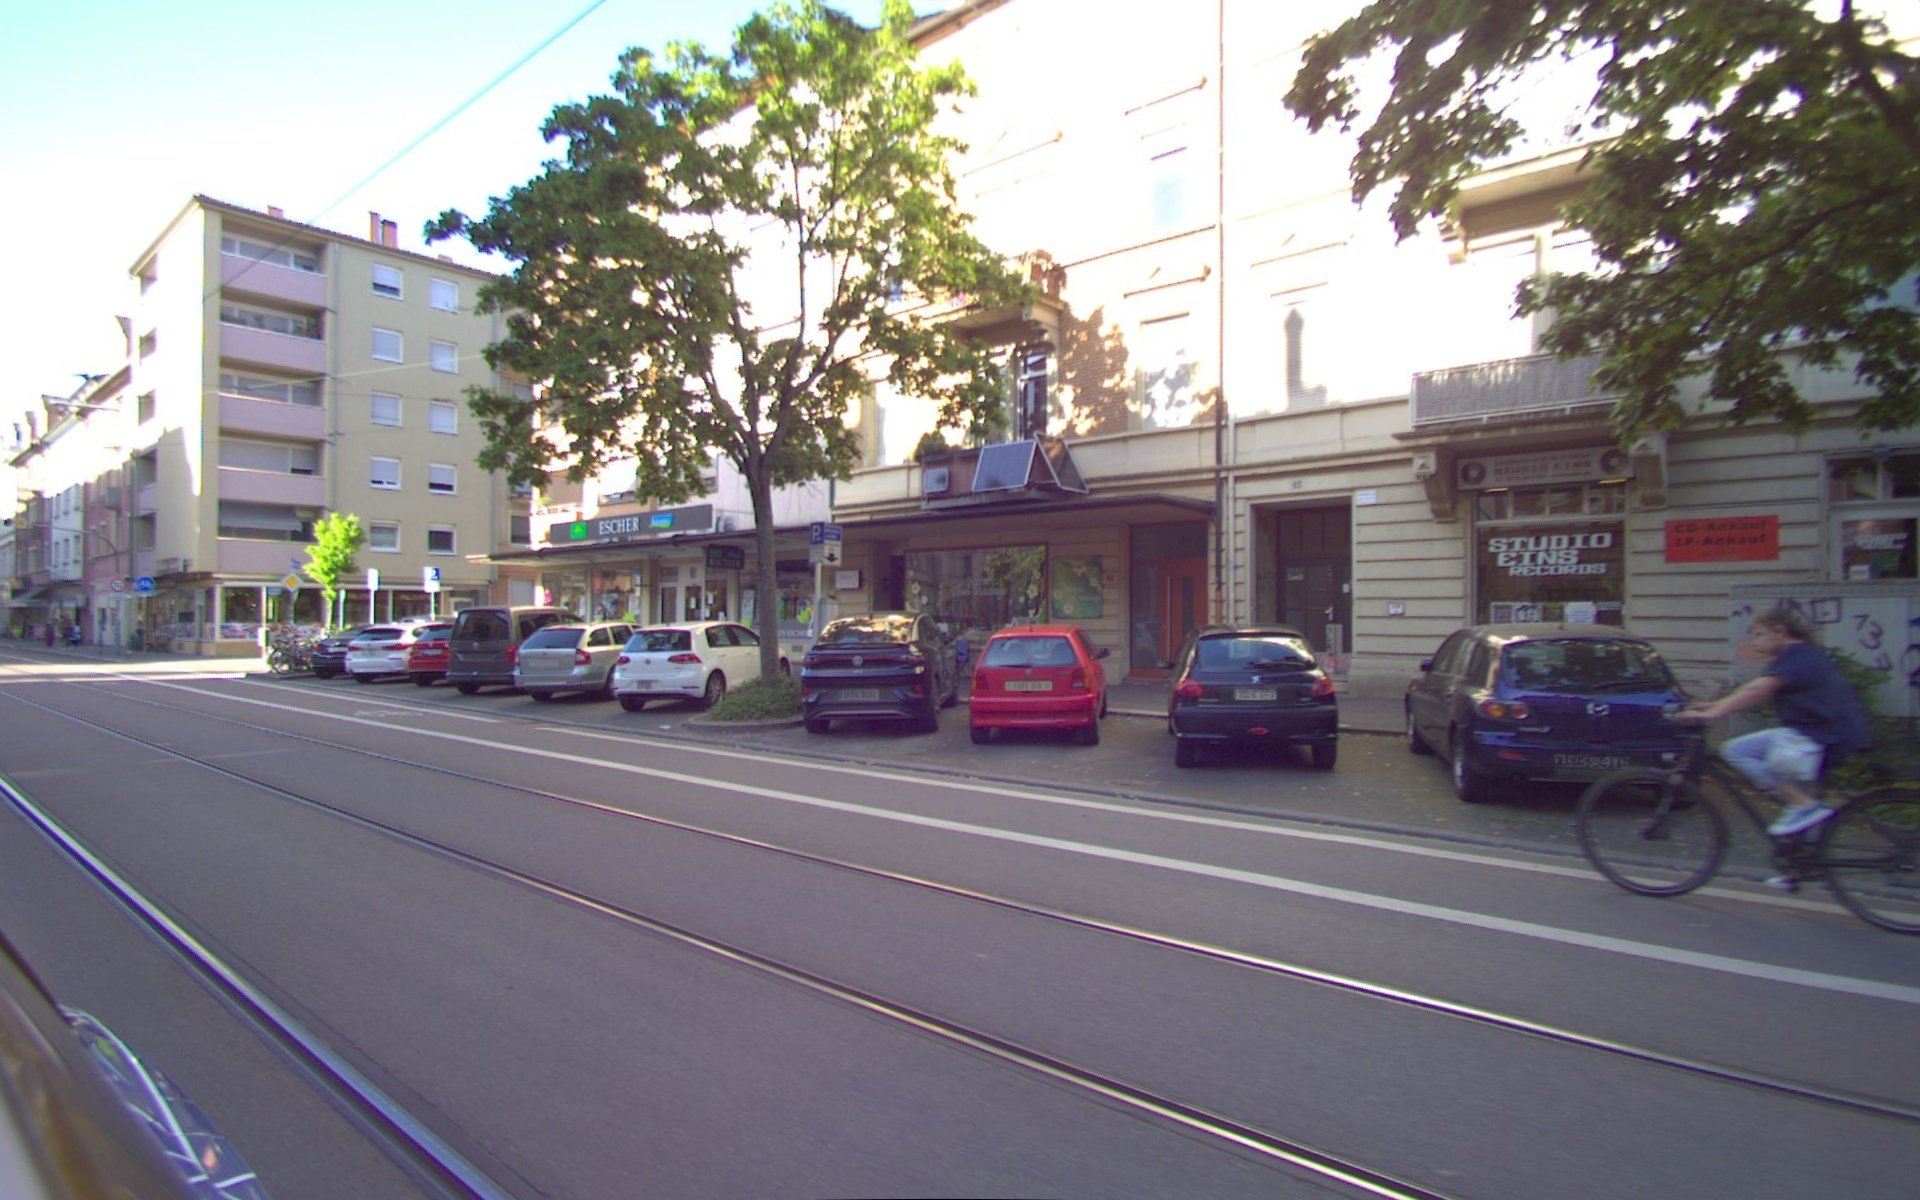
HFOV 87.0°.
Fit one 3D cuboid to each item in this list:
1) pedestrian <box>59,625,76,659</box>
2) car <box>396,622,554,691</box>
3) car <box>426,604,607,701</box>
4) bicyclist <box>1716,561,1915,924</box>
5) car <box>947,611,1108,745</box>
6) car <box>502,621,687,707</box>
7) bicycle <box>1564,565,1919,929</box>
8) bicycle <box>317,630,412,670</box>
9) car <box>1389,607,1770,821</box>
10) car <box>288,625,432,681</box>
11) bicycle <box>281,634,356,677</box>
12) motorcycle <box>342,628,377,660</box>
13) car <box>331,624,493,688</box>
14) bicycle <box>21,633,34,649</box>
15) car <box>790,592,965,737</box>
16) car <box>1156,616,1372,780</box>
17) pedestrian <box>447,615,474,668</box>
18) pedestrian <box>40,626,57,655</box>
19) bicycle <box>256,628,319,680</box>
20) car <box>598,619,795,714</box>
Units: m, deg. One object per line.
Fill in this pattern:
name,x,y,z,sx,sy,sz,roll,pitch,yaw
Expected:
pedestrian,-45.212,2.138,51.242,0.616,1.698,0.557,-1,-1,40
car,-11.392,1.286,24.022,1.631,1.484,3.457,-1,-1,12
car,-9.431,1.044,21.887,1.777,1.798,3.811,-1,1,10
bicyclist,4.382,0.670,5.211,0.726,1.694,0.627,-1,-1,41
car,1.049,0.923,13.659,1.846,1.500,3.990,-1,0,8
car,-7.090,1.180,20.079,1.681,1.460,4.005,-1,0,11
bicycle,4.391,0.688,5.216,2.096,1.691,0.673,-1,-1,41
bicycle,-18.070,1.507,30.769,2.396,1.118,0.685,-2,-2,-9
car,5.308,0.831,9.341,1.788,1.500,3.983,-1,0,13
car,-16.136,1.396,27.421,1.605,1.347,3.464,-1,0,7
bicycle,-18.502,1.597,29.202,1.867,1.132,0.681,-3,-2,10
motorcycle,-24.539,1.777,41.338,2.176,1.219,0.613,-1,-1,41
car,-13.740,1.357,25.627,1.734,1.410,3.782,-1,0,8
bicycle,-66.161,2.882,71.810,2.328,1.068,0.420,-1,-1,41
car,-1.024,0.819,14.786,1.970,1.796,4.362,0,0,3
car,3.278,0.960,11.662,1.785,1.500,3.990,-1,0,8
pedestrian,-16.058,1.322,32.537,0.641,1.665,0.563,-1,-1,41
pedestrian,-49.646,2.187,55.135,0.623,1.560,0.629,-1,-1,41
bicycle,-18.446,1.488,27.727,2.431,1.330,0.675,-4,-3,37
car,-4.541,1.096,18.033,1.750,1.440,3.826,-1,0,15
